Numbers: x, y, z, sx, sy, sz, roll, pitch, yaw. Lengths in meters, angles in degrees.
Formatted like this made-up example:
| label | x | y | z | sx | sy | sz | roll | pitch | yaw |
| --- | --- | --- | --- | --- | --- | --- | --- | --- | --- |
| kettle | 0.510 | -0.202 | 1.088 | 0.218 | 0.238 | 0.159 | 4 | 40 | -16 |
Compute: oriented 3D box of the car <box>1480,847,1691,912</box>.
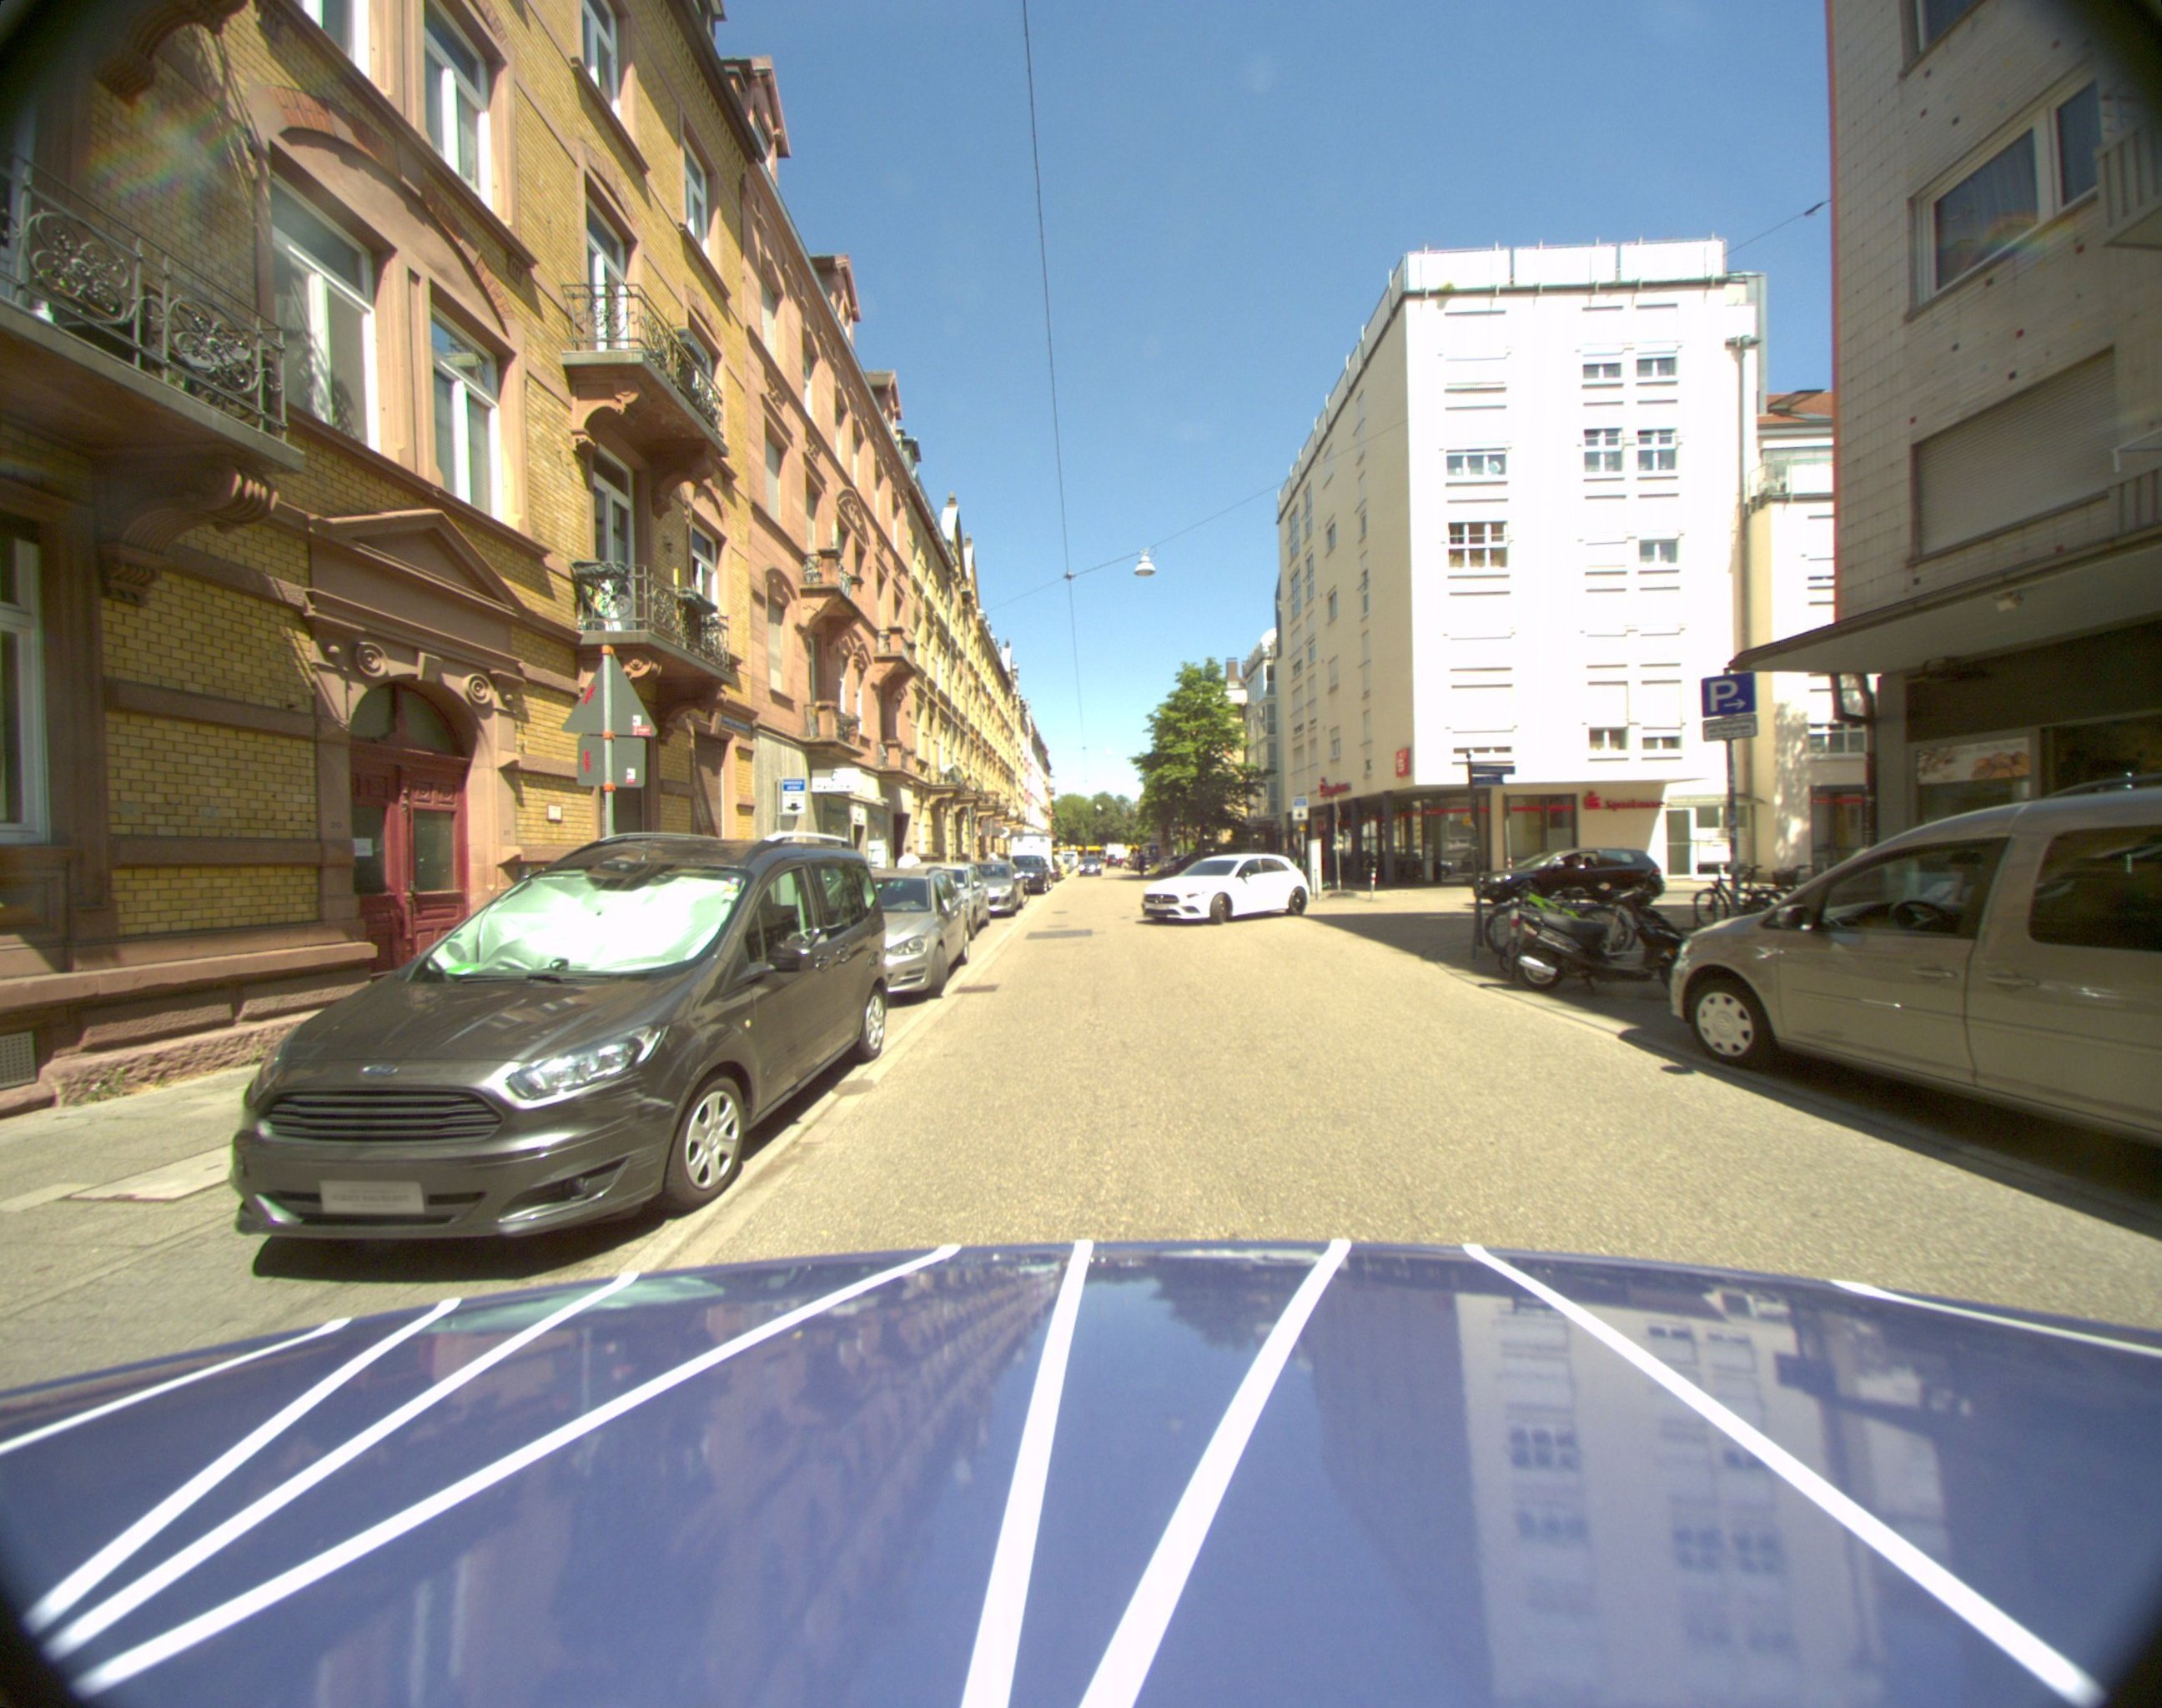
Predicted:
| label | x | y | z | sx | sy | sz | roll | pitch | yaw |
| --- | --- | --- | --- | --- | --- | --- | --- | --- | --- |
| car | 12.212 | 0.595 | 18.606 | 3.887 | 1.417 | 1.816 | -1 | 0 | 5 |

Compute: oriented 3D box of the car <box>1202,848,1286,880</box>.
| label | x | y | z | sx | sy | sz | roll | pitch | yaw |
| --- | --- | --- | --- | --- | --- | --- | --- | --- | --- |
| car | 8.215 | 0.501 | 38.490 | 3.885 | 1.520 | 1.652 | -1 | 0 | 0 |

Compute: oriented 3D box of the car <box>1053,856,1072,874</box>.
| label | x | y | z | sx | sy | sz | roll | pitch | yaw |
| --- | --- | --- | --- | --- | --- | --- | --- | --- | --- |
| car | -1.728 | 0.967 | 70.433 | 1.682 | 1.528 | 3.999 | -2 | 0 | -2 |

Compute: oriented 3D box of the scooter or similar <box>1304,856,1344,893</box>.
| label | x | y | z | sx | sy | sz | roll | pitch | yaw |
| --- | --- | --- | --- | --- | --- | --- | --- | --- | --- |
| scooter or similar | 7.938 | 0.674 | 24.792 | 1.192 | 1.160 | 0.289 | -1 | 1 | -1 |

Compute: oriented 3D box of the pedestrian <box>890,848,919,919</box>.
| label | x | y | z | sx | sy | sz | roll | pitch | yaw |
| --- | --- | --- | --- | --- | --- | --- | --- | --- | --- |
| pedestrian | -4.763 | 0.790 | 20.520 | 0.635 | 1.903 | 0.370 | -1 | 1 | 1 |

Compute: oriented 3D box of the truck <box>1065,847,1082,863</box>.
| label | x | y | z | sx | sy | sz | roll | pitch | yaw |
| --- | --- | --- | --- | --- | --- | --- | --- | --- | --- |
| truck | -0.972 | 0.140 | 97.681 | 1.998 | 2.002 | 4.902 | -1 | 0 | 1 |

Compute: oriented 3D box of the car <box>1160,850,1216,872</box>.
| label | x | y | z | sx | sy | sz | roll | pitch | yaw |
| --- | --- | --- | --- | --- | --- | --- | --- | --- | --- |
| car | 7.946 | 0.526 | 56.642 | 3.885 | 1.487 | 1.652 | -1 | 0 | 0 |

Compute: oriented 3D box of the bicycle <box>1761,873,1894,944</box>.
| label | x | y | z | sx | sy | sz | roll | pitch | yaw |
| --- | --- | --- | --- | --- | --- | --- | --- | --- | --- |
| bicycle | 11.582 | 0.808 | 11.861 | 0.410 | 0.951 | 1.711 | -2 | 1 | 2 |

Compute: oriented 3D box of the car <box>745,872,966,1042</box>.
| label | x | y | z | sx | sy | sz | roll | pitch | yaw |
| --- | --- | --- | --- | --- | --- | --- | --- | --- | --- |
| car | -2.442 | 1.023 | 9.242 | 1.766 | 1.441 | 3.903 | -2 | 0 | -5 |

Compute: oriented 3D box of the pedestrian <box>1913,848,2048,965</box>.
| label | x | y | z | sx | sy | sz | roll | pitch | yaw |
| --- | --- | --- | --- | --- | --- | --- | --- | --- | --- |
| pedestrian | 9.526 | 0.530 | 8.073 | 0.593 | 1.173 | 0.698 | -1 | 1 | -1 |

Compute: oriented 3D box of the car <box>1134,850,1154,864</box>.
| label | x | y | z | sx | sy | sz | roll | pitch | yaw |
| --- | --- | --- | --- | --- | --- | --- | --- | --- | --- |
| car | 7.438 | 0.369 | 89.860 | 1.998 | 1.505 | 4.000 | -3 | 0 | 1 |

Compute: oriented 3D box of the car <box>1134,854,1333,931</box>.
| label | x | y | z | sx | sy | sz | roll | pitch | yaw |
| --- | --- | --- | --- | --- | --- | --- | --- | --- | --- |
| car | 3.424 | 0.768 | 16.785 | 4.249 | 1.417 | 1.811 | -2 | 0 | -34 |

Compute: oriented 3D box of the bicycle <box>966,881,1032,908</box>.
| label | x | y | z | sx | sy | sz | roll | pitch | yaw |
| --- | --- | --- | --- | --- | --- | --- | --- | --- | --- |
| bicycle | -2.548 | 1.257 | 23.780 | 1.965 | 0.772 | 0.568 | -1 | 0 | 5 |

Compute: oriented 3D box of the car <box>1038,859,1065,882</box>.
| label | x | y | z | sx | sy | sz | roll | pitch | yaw |
| --- | --- | --- | --- | --- | --- | --- | --- | --- | --- |
| car | -1.836 | 0.994 | 47.436 | 1.533 | 1.293 | 3.686 | -2 | 0 | -2 |

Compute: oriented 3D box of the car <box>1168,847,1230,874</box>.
| label | x | y | z | sx | sy | sz | roll | pitch | yaw |
| --- | --- | --- | --- | --- | --- | --- | --- | --- | --- |
| car | 7.910 | 0.431 | 51.009 | 3.885 | 1.737 | 1.652 | -1 | 0 | 0 |

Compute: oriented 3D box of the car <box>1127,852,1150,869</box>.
| label | x | y | z | sx | sy | sz | roll | pitch | yaw |
| --- | --- | --- | --- | --- | --- | --- | --- | --- | --- |
| car | 5.596 | 0.598 | 74.259 | 1.998 | 1.505 | 4.000 | -3 | 0 | 1 |

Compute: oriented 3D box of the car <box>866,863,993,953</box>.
| label | x | y | z | sx | sy | sz | roll | pitch | yaw |
| --- | --- | --- | --- | --- | --- | --- | --- | --- | --- |
| car | -2.931 | 0.990 | 15.530 | 1.830 | 1.452 | 3.999 | -2 | 0 | -2 |

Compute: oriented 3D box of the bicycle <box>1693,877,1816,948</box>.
| label | x | y | z | sx | sy | sz | roll | pitch | yaw |
| --- | --- | --- | --- | --- | --- | --- | --- | --- | --- |
| bicycle | 10.402 | 0.873 | 11.818 | 0.410 | 0.951 | 1.711 | -2 | 1 | 2 |

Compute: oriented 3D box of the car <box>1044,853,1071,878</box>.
| label | x | y | z | sx | sy | sz | roll | pitch | yaw |
| --- | --- | --- | --- | --- | --- | --- | --- | --- | --- |
| car | -1.629 | 0.749 | 52.341 | 1.682 | 1.528 | 3.999 | -2 | 0 | -2 |

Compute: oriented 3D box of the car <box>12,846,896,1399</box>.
| label | x | y | z | sx | sy | sz | roll | pitch | yaw |
| --- | --- | --- | --- | --- | --- | --- | --- | --- | --- |
| car | -2.449 | 0.835 | 4.383 | 1.706 | 1.723 | 4.000 | -1 | 1 | 1 |

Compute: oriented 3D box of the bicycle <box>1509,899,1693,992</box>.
| label | x | y | z | sx | sy | sz | roll | pitch | yaw |
| --- | --- | --- | --- | --- | --- | --- | --- | --- | --- |
| bicycle | 6.018 | 1.023 | 8.870 | 1.706 | 0.951 | 0.411 | -2 | 1 | 43 |

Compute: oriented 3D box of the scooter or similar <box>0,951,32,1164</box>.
| label | x | y | z | sx | sy | sz | roll | pitch | yaw |
| --- | --- | --- | --- | --- | --- | --- | --- | --- | --- |
| scooter or similar | -6.157 | 1.128 | 3.202 | 0.477 | 1.146 | 2.112 | -2 | 0 | 1 |

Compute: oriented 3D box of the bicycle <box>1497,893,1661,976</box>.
| label | x | y | z | sx | sy | sz | roll | pitch | yaw |
| --- | --- | --- | --- | --- | --- | --- | --- | --- | --- |
| bicycle | 6.382 | 0.994 | 9.808 | 1.706 | 0.951 | 0.411 | -2 | 1 | 43 |

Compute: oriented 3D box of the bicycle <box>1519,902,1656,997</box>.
| label | x | y | z | sx | sy | sz | roll | pitch | yaw |
| --- | --- | --- | --- | --- | --- | --- | --- | --- | --- |
| bicycle | 5.657 | 1.040 | 8.522 | 1.210 | 0.951 | 0.338 | -2 | 1 | 43 |

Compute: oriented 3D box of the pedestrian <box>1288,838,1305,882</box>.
| label | x | y | z | sx | sy | sz | roll | pitch | yaw |
| --- | --- | --- | --- | --- | --- | --- | --- | --- | --- |
| pedestrian | 10.501 | 0.271 | 37.090 | 0.495 | 2.113 | 0.608 | -2 | 1 | -19 |

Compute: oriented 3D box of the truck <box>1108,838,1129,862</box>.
| label | x | y | z | sx | sy | sz | roll | pitch | yaw |
| --- | --- | --- | --- | --- | --- | --- | --- | --- | --- |
| truck | 5.409 | -0.557 | 111.180 | 2.763 | 3.270 | 4.957 | -2 | 0 | 1 |

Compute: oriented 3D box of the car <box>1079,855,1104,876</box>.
| label | x | y | z | sx | sy | sz | roll | pitch | yaw |
| --- | --- | --- | --- | --- | --- | --- | --- | --- | --- |
| car | 0.777 | 0.838 | 58.186 | 1.780 | 1.460 | 4.000 | -3 | 0 | 1 |

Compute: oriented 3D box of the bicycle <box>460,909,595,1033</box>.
| label | x | y | z | sx | sy | sz | roll | pitch | yaw |
| --- | --- | --- | --- | --- | --- | --- | --- | --- | --- |
| bicycle | -5.975 | 1.218 | 8.291 | 0.366 | 1.101 | 1.428 | -1 | 2 | 1 |

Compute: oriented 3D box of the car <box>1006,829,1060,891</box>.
| label | x | y | z | sx | sy | sz | roll | pitch | yaw |
| --- | --- | --- | --- | --- | --- | --- | --- | --- | --- |
| car | -2.242 | 0.257 | 36.681 | 2.067 | 2.687 | 5.038 | -3 | 1 | 1 |

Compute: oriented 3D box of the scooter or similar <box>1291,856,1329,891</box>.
| label | x | y | z | sx | sy | sz | roll | pitch | yaw |
| --- | --- | --- | --- | --- | --- | --- | --- | --- | --- |
| scooter or similar | 7.804 | 0.667 | 25.879 | 1.192 | 1.160 | 0.289 | -1 | 1 | -1 |

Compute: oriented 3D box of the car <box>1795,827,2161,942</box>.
| label | x | y | z | sx | sy | sz | roll | pitch | yaw |
| --- | --- | --- | --- | --- | --- | --- | --- | --- | --- |
| car | 13.862 | 0.451 | 11.555 | 3.997 | 1.421 | 2.001 | -3 | -3 | 1 |

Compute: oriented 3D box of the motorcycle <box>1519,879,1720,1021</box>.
| label | x | y | z | sx | sy | sz | roll | pitch | yaw |
| --- | --- | --- | --- | --- | --- | --- | --- | --- | --- |
| motorcycle | 5.280 | 0.910 | 7.539 | 1.552 | 1.277 | 0.394 | -2 | 2 | 33 |

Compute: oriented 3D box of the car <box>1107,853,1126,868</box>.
| label | x | y | z | sx | sy | sz | roll | pitch | yaw |
| --- | --- | --- | --- | --- | --- | --- | --- | --- | --- |
| car | 4.097 | 0.744 | 88.414 | 1.998 | 1.674 | 4.000 | -3 | 0 | 1 |

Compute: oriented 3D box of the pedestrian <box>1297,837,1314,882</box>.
| label | x | y | z | sx | sy | sz | roll | pitch | yaw |
| --- | --- | --- | --- | --- | --- | --- | --- | --- | --- |
| pedestrian | 10.705 | 0.265 | 36.169 | 0.608 | 2.113 | 0.496 | -1 | 1 | 36 |

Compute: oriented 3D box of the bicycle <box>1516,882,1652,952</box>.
| label | x | y | z | sx | sy | sz | roll | pitch | yaw |
| --- | --- | --- | --- | --- | --- | --- | --- | --- | --- |
| bicycle | 7.693 | 0.929 | 11.698 | 0.411 | 0.951 | 1.707 | -3 | 1 | -32 |

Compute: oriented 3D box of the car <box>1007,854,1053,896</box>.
| label | x | y | z | sx | sy | sz | roll | pitch | yaw |
| --- | --- | --- | --- | --- | --- | --- | --- | --- | --- |
| car | -2.033 | 0.788 | 30.982 | 1.682 | 1.528 | 3.999 | -2 | 0 | -2 |

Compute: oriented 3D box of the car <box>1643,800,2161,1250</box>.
| label | x | y | z | sx | sy | sz | roll | pitch | yaw |
| --- | --- | --- | --- | --- | --- | --- | --- | --- | --- |
| car | 5.235 | 0.652 | 3.413 | 1.793 | 1.818 | 4.900 | -3 | 0 | 1 |

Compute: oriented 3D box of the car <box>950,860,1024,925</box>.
| label | x | y | z | sx | sy | sz | roll | pitch | yaw |
| --- | --- | --- | --- | --- | --- | --- | --- | --- | --- |
| car | -2.412 | 0.950 | 20.246 | 1.602 | 1.454 | 3.689 | -2 | 0 | -2 |
